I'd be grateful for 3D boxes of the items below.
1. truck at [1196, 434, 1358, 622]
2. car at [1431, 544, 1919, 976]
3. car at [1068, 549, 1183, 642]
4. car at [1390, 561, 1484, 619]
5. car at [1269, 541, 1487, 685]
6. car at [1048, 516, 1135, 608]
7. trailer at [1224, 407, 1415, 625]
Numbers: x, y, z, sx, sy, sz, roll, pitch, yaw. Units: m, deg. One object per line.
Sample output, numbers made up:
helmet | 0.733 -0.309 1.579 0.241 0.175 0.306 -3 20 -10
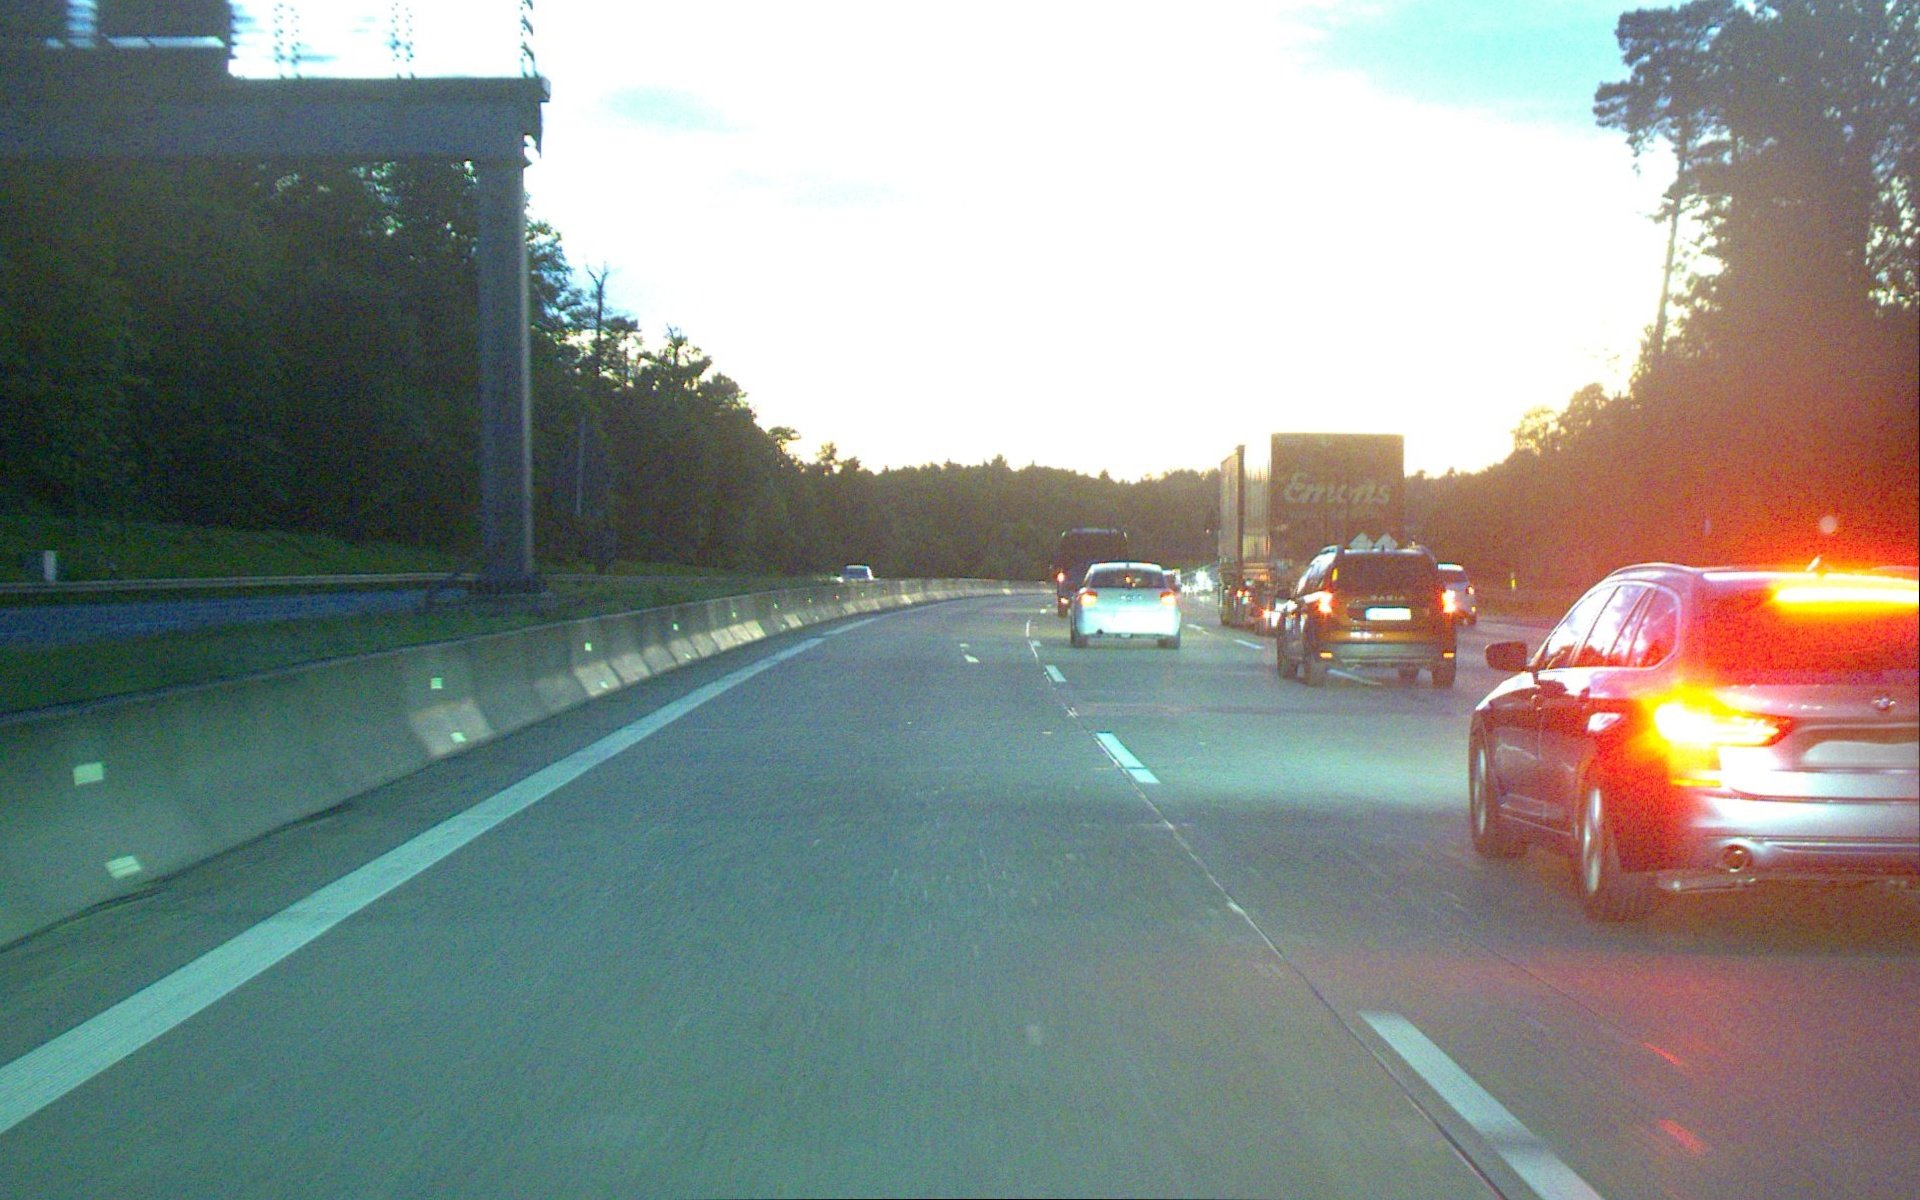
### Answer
truck | 7.321 -1.568 80.783 2.885 4.087 10.831 1 0 1
car | 3.444 0.561 15.484 1.909 1.532 5.232 0 2 0
car | 2.806 -0.103 58.138 1.859 1.437 3.720 0 2 3
car | 12.239 -0.256 88.365 1.859 1.437 4.111 0 0 0
car | 4.991 0.117 41.715 1.903 1.638 5.052 0 1 -1
car | 3.622 -0.994 93.564 2.166 2.410 5.563 0 0 4
trailer | 7.205 -1.585 70.228 2.907 4.087 10.357 1 0 1
